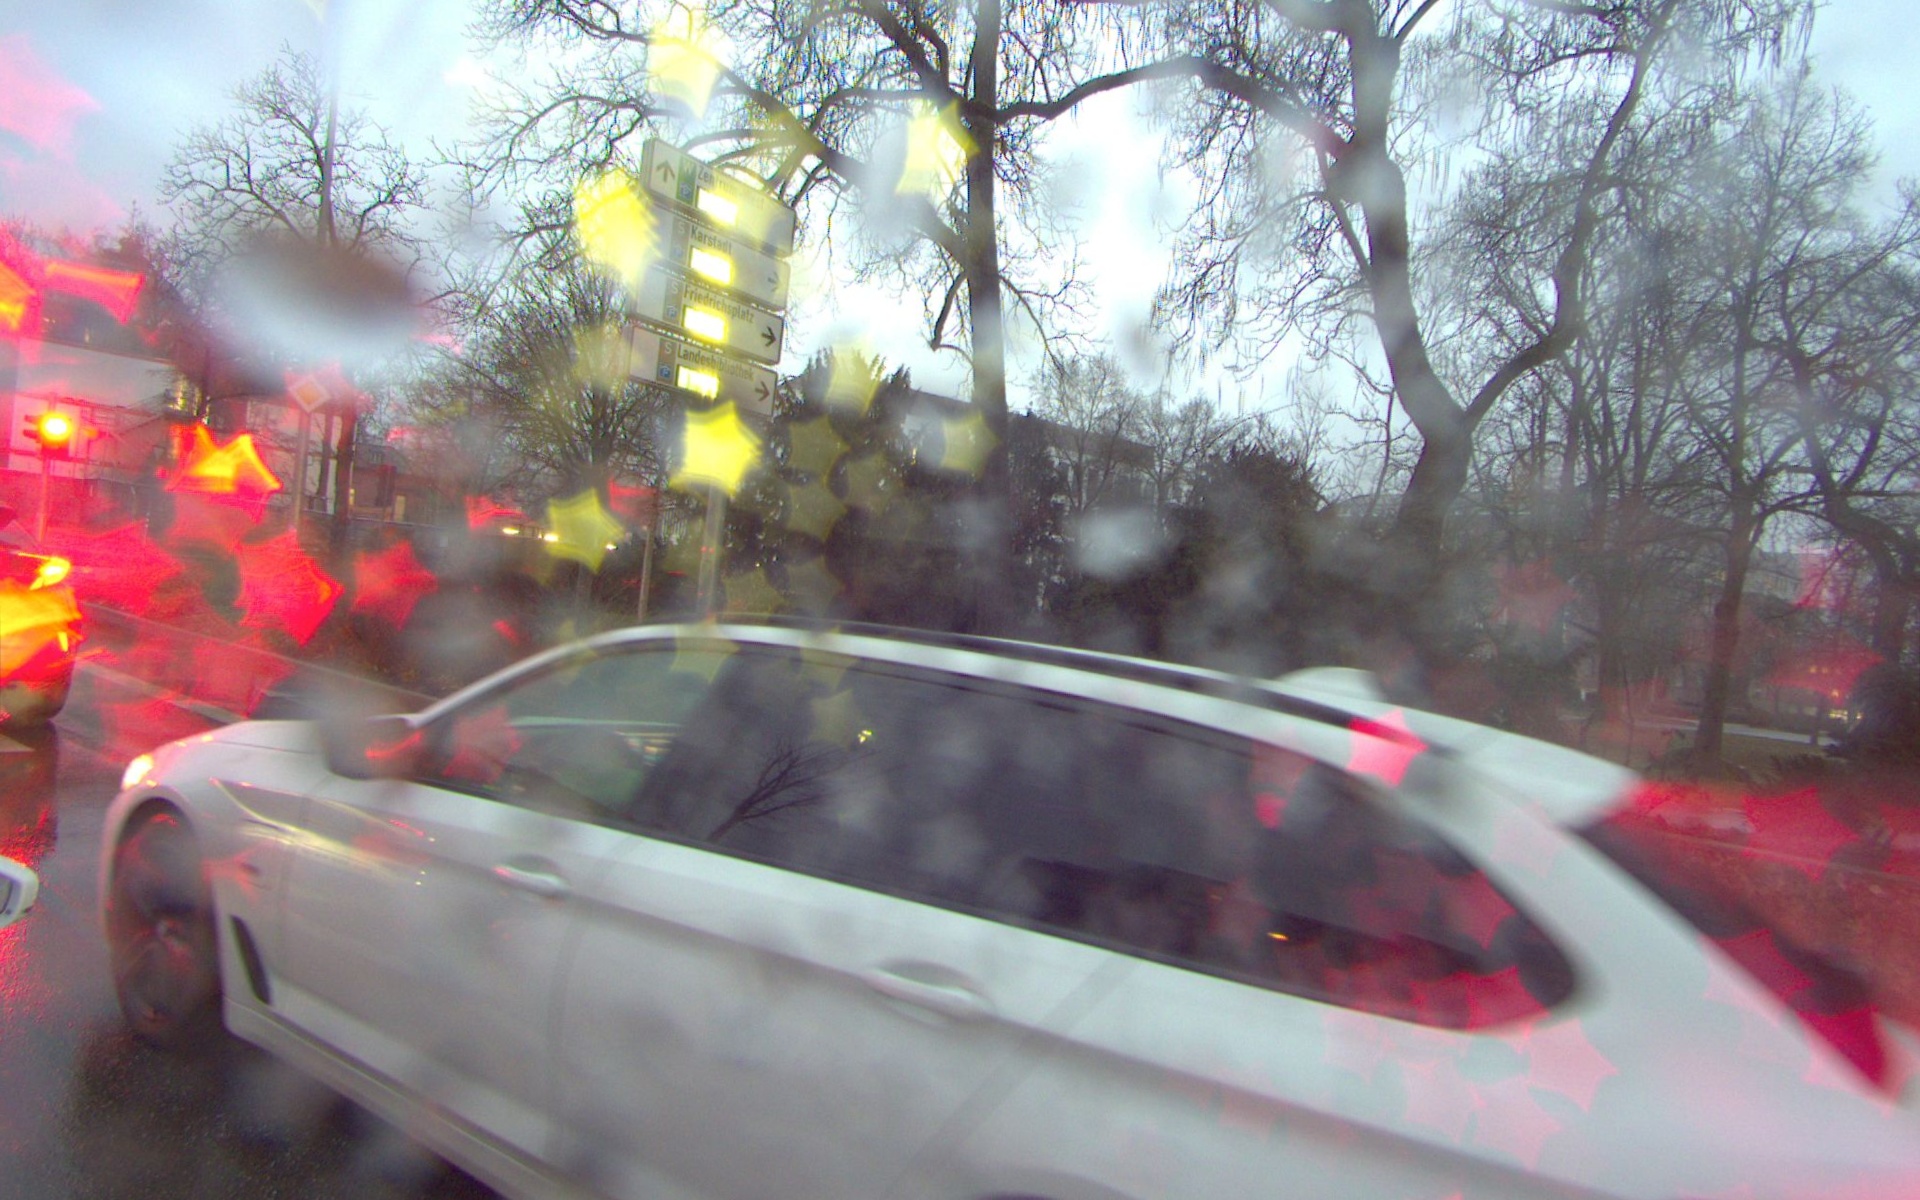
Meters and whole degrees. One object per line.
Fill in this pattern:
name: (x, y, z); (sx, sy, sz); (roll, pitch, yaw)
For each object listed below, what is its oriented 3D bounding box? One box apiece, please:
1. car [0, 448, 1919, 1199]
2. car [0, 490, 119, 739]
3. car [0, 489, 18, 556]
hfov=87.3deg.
car: (-0.449, 0.624, 2.808); (4.853, 1.575, 1.866); (7, 0, 29)
car: (-7.676, -0.119, 6.856); (3.831, 1.529, 1.802); (7, 0, 32)
car: (-30.696, -2.620, 29.478); (4.259, 1.965, 1.977); (10, -3, -42)
